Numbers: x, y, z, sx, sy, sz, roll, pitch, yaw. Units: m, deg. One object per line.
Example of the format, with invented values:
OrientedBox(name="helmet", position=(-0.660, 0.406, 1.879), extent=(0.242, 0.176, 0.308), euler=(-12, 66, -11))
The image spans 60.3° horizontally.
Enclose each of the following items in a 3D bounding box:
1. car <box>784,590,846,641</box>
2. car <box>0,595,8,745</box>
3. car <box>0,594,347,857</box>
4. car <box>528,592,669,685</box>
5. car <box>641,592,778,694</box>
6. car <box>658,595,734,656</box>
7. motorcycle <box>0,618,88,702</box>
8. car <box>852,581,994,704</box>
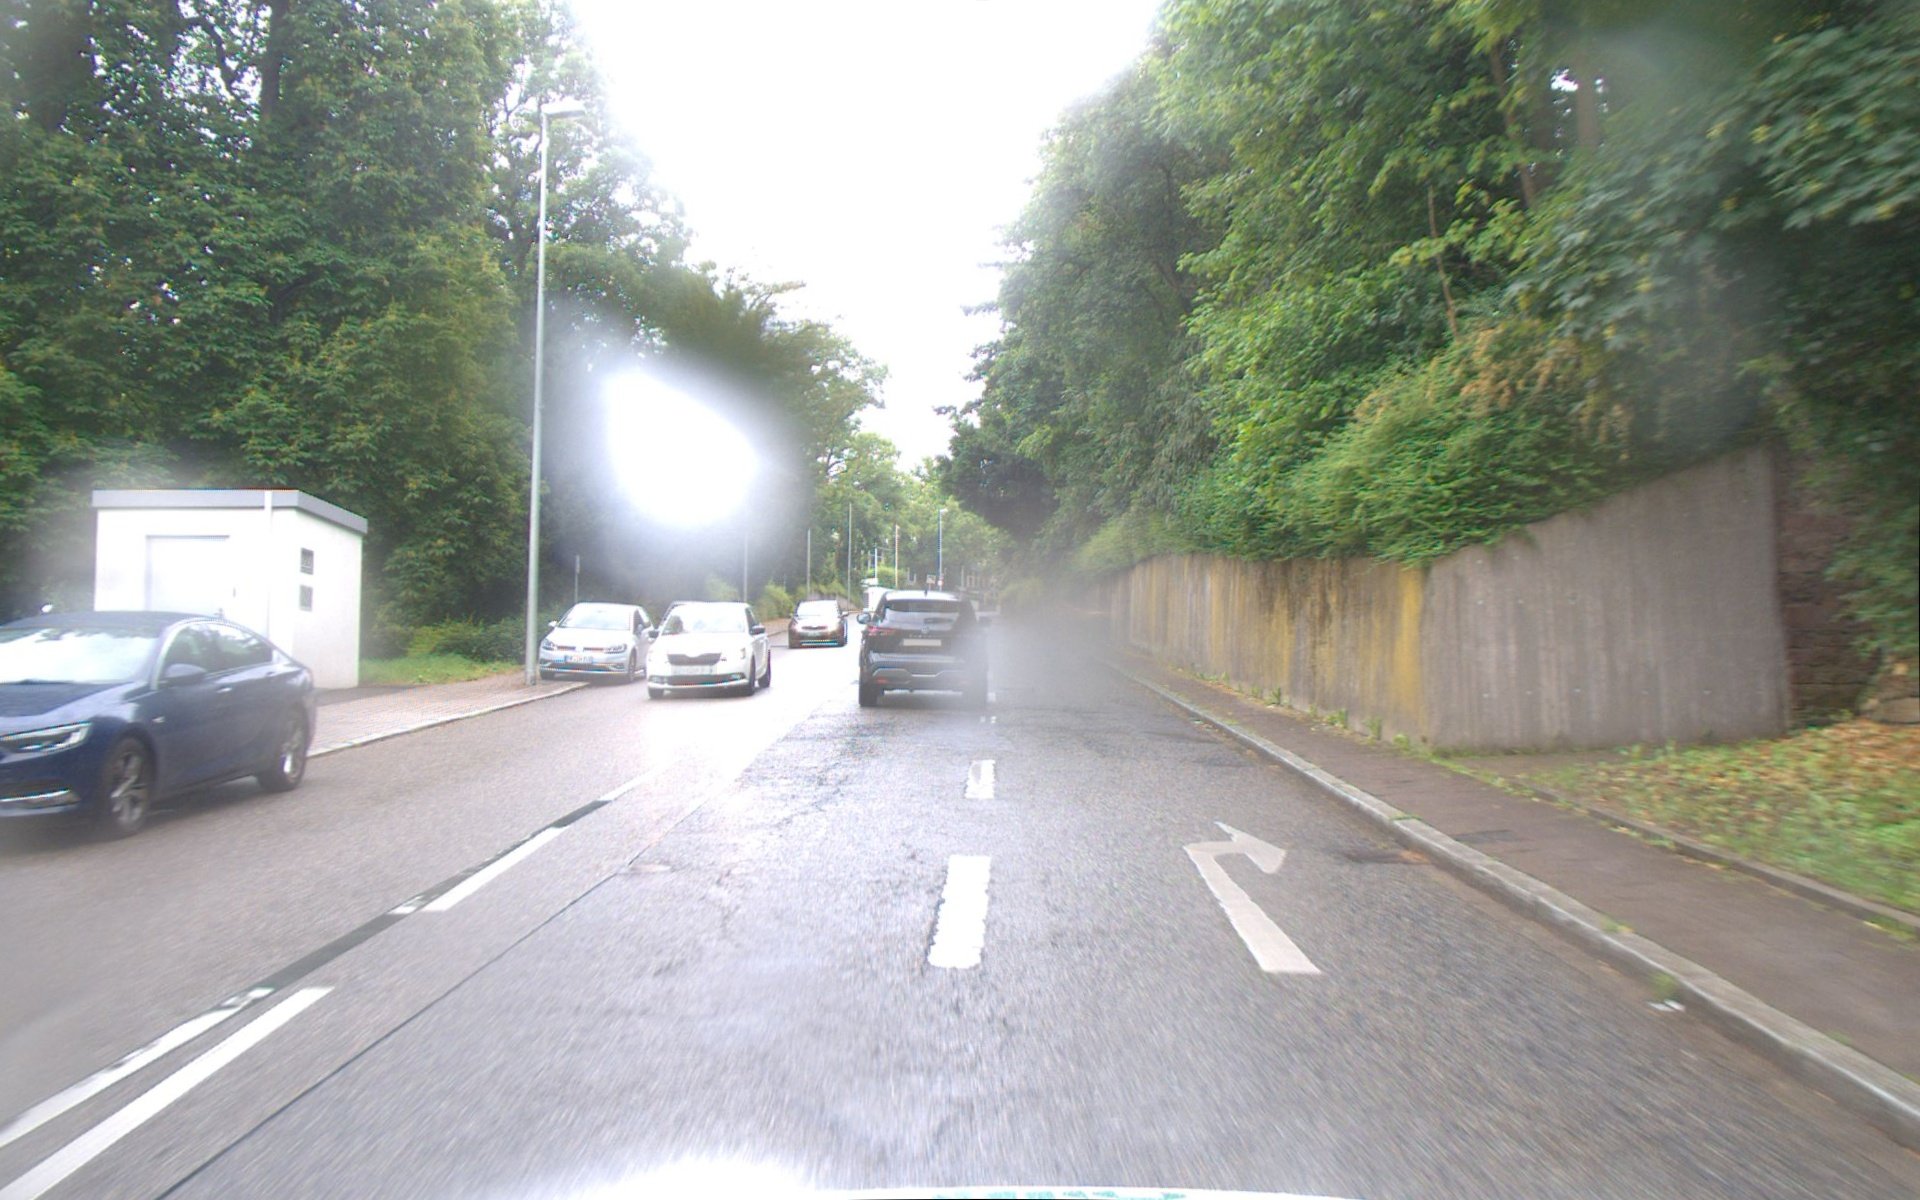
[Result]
OrientedBox(name="car", position=(-4.601, 0.468, 52.873), extent=(1.725, 1.517, 3.998), euler=(-2, 0, -2))
OrientedBox(name="car", position=(-10.320, 0.707, 14.287), extent=(1.687, 1.484, 4.396), euler=(-1, 0, -1))
OrientedBox(name="car", position=(-6.267, 0.777, 12.099), extent=(1.822, 1.519, 4.754), euler=(-4, 0, -2))
OrientedBox(name="car", position=(-7.060, 0.699, 32.754), extent=(1.848, 1.640, 4.238), euler=(-3, 0, -1))
OrientedBox(name="car", position=(-4.003, 0.645, 26.995), extent=(1.690, 1.460, 3.911), euler=(-3, 0, -2))
OrientedBox(name="car", position=(-7.049, 0.654, 44.483), extent=(1.594, 1.525, 3.925), euler=(2, 0, -4))
OrientedBox(name="motorcycle", position=(-14.385, 0.897, 25.515), extent=(0.588, 1.209, 2.278), euler=(-1, 0, 2))
OrientedBox(name="car", position=(-0.538, 0.564, 24.167), extent=(1.889, 1.641, 3.999), euler=(0, 0, -1))
